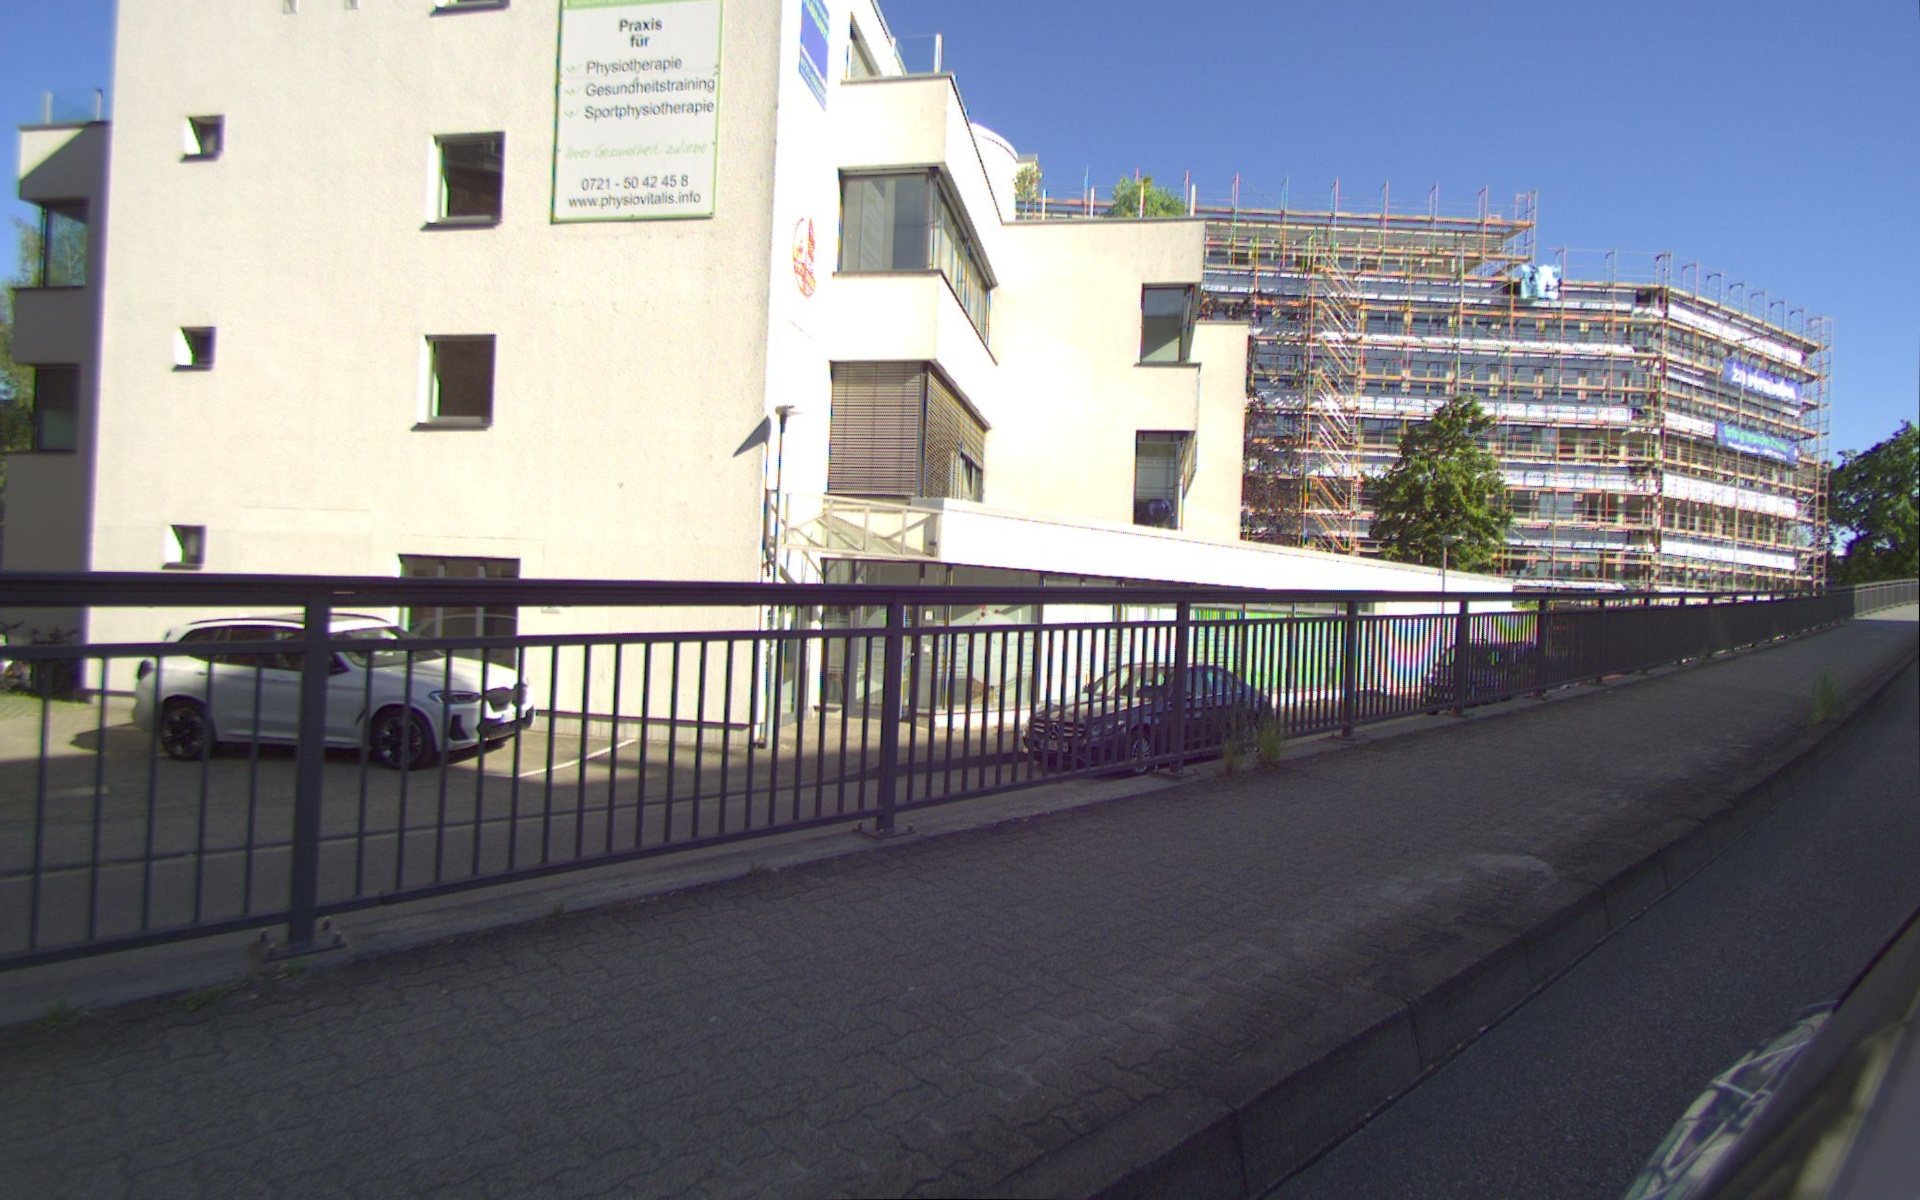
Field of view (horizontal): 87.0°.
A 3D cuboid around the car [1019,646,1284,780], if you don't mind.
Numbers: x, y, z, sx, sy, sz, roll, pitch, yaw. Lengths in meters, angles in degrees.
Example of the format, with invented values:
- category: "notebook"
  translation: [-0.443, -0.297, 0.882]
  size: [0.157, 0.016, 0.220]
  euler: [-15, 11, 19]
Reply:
- category: "car"
  translation: [2.848, 1.503, 14.618]
  size: [3.930, 1.541, 1.724]
  euler: [1, -1, -42]

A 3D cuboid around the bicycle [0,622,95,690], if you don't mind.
- category: "bicycle"
  translation: [-16.489, 0.972, 17.803]
  size: [0.655, 1.065, 1.916]
  euler: [2, 1, 11]

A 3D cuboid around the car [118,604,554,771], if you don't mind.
- category: "car"
  translation: [-7.630, 0.984, 12.590]
  size: [4.454, 1.707, 1.841]
  euler: [2, 0, 8]

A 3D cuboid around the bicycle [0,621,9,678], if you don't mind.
- category: "bicycle"
  translation: [-18.365, 0.925, 18.125]
  size: [0.655, 1.065, 1.916]
  euler: [2, 1, 11]

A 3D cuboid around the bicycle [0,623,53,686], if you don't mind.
- category: "bicycle"
  translation: [-17.368, 0.980, 17.922]
  size: [0.655, 1.065, 1.916]
  euler: [2, 1, 11]

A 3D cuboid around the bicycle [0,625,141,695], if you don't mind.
- category: "bicycle"
  translation: [-15.569, 1.020, 17.731]
  size: [0.655, 1.065, 1.916]
  euler: [2, 1, 11]

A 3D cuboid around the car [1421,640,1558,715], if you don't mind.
- category: "car"
  translation: [12.726, 1.787, 24.230]
  size: [3.932, 1.541, 1.723]
  euler: [1, -1, -43]

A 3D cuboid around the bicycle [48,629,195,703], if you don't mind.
- category: "bicycle"
  translation: [-14.086, 1.079, 17.082]
  size: [0.655, 1.065, 1.916]
  euler: [2, 1, 11]

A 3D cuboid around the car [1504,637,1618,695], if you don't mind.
- category: "car"
  translation: [16.798, 1.781, 28.214]
  size: [3.932, 1.410, 1.723]
  euler: [1, -1, -43]
